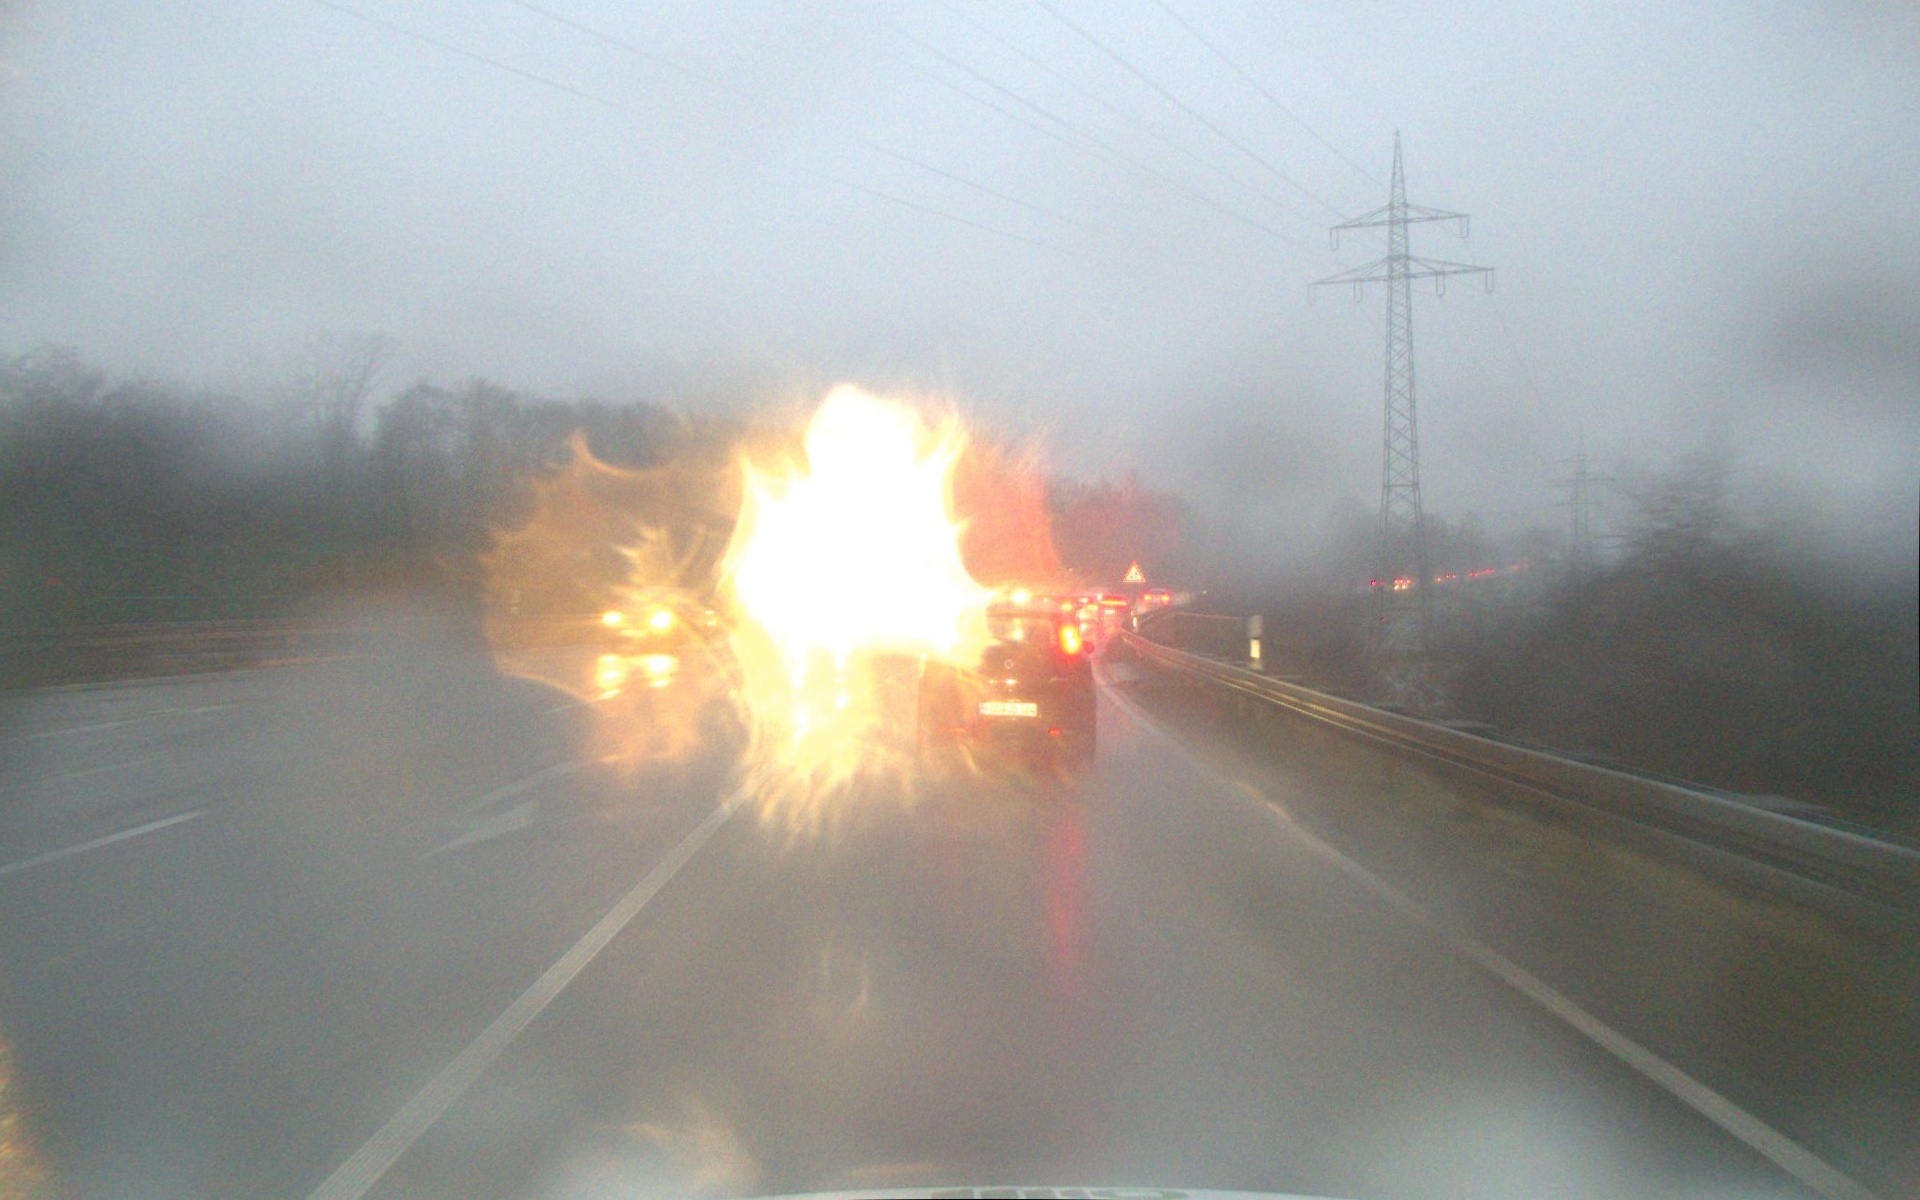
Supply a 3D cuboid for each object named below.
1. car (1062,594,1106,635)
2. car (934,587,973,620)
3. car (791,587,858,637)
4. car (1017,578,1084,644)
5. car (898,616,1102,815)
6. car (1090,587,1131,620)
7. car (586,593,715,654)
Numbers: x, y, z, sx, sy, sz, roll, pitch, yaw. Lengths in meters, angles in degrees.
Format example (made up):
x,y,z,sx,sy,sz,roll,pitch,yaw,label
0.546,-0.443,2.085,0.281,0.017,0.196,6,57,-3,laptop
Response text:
x,y,z,sx,sy,sz,roll,pitch,yaw,label
5.593,0.609,74.493,1.905,1.775,4.002,1,0,4,car
-0.307,0.169,84.916,1.602,1.497,4.452,3,1,4,car
-4.164,0.346,51.378,1.660,1.442,4.001,1,0,1,car
2.982,0.334,53.626,1.904,2.049,4.003,1,0,7,car
0.274,1.022,16.408,1.696,1.559,4.040,-3,1,-2,car
8.311,0.170,91.255,1.904,1.775,4.004,0,1,10,car
-7.263,0.512,39.168,1.561,1.265,4.004,3,1,11,car
